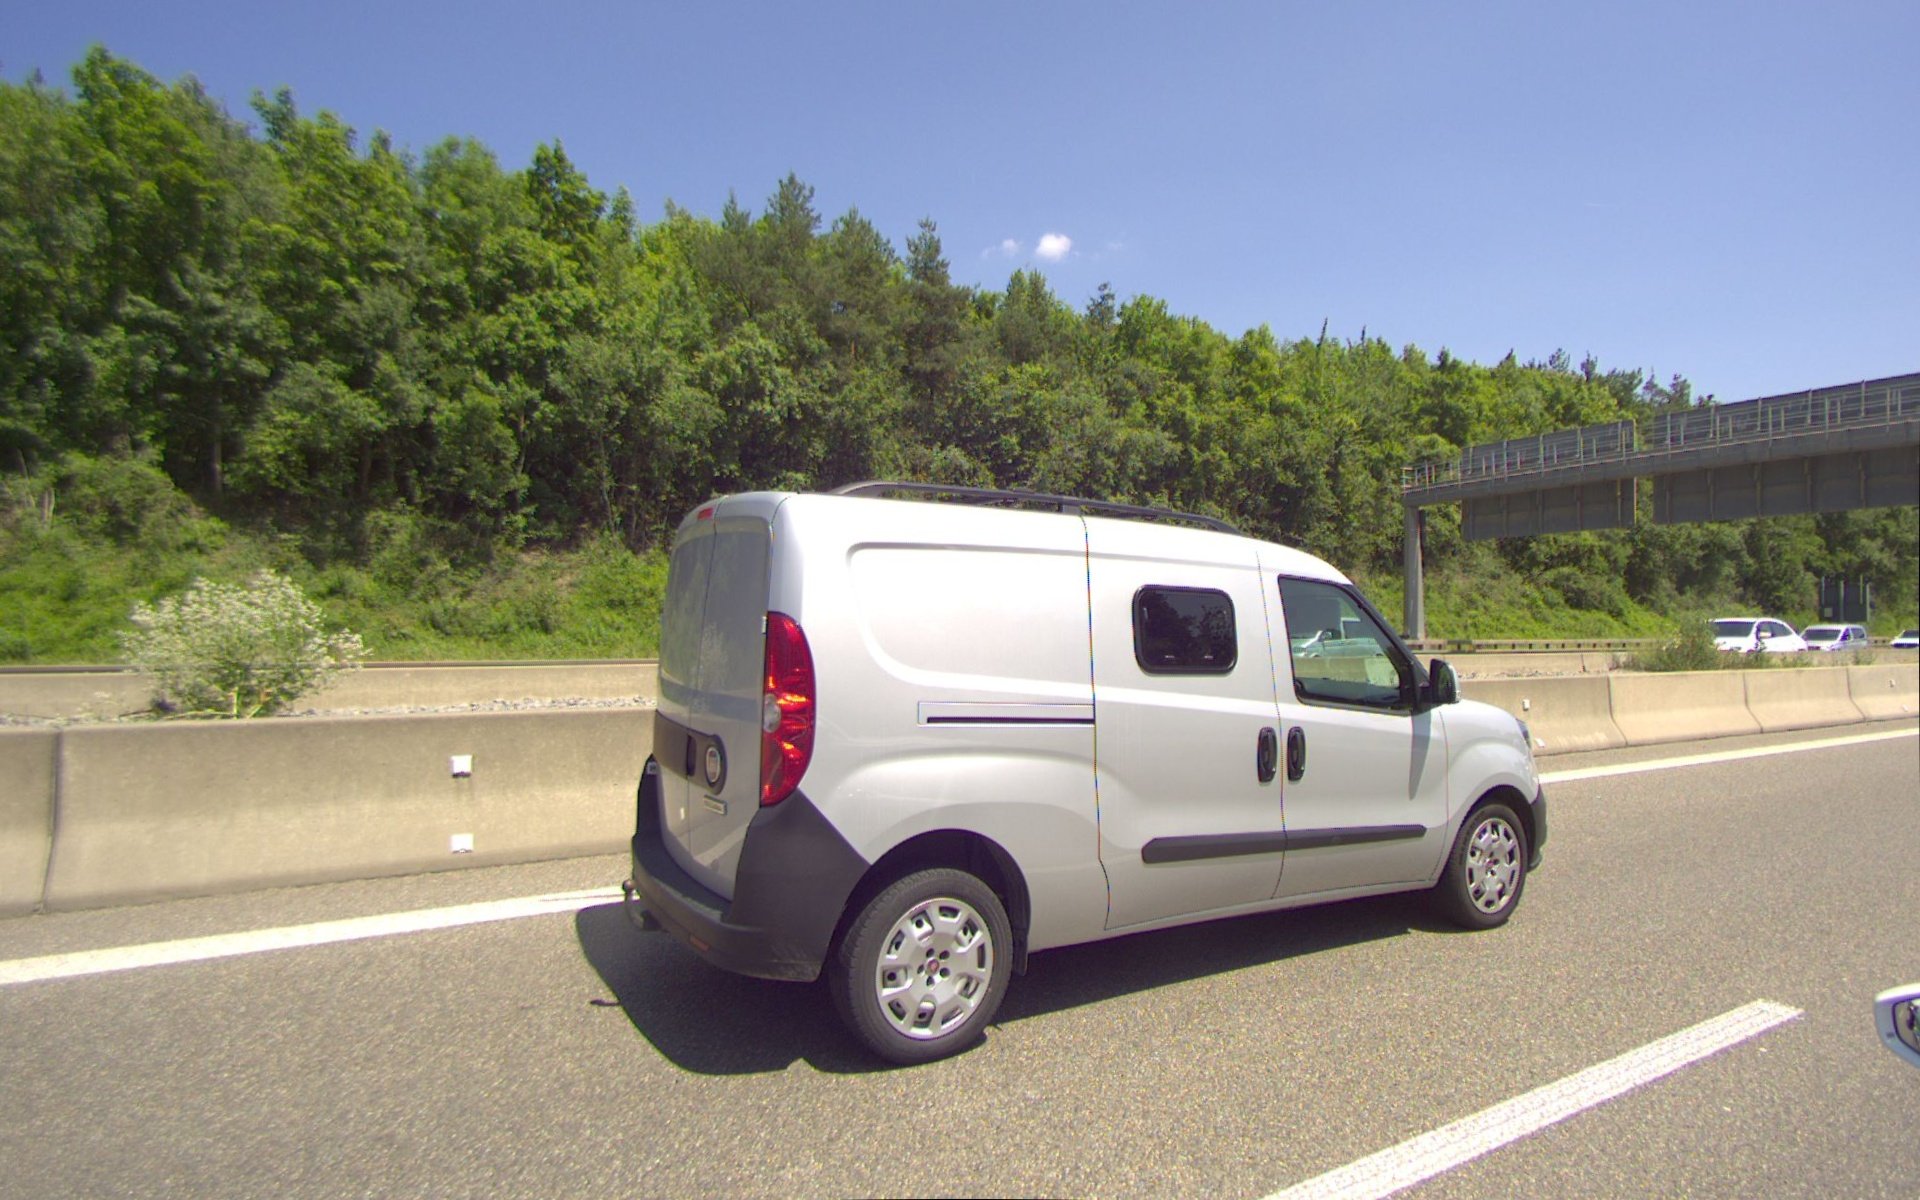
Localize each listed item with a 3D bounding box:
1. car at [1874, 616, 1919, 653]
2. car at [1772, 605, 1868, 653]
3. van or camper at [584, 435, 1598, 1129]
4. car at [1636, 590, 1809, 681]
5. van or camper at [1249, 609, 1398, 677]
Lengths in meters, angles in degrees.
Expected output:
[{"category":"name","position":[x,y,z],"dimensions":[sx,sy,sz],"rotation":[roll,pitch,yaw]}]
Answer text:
[{"category":"car","position":[55.953,2.055,59.024],"dimensions":[4.313,2.040,2.113],"rotation":[3,-1,-30]},{"category":"car","position":[39.517,1.327,46.123],"dimensions":[4.420,2.040,1.984],"rotation":[3,-1,-30]},{"category":"van or camper","position":[0.772,0.531,4.693],"dimensions":[4.507,1.905,1.844],"rotation":[1,0,-30]},{"category":"car","position":[18.725,0.879,24.628],"dimensions":[4.146,2.040,1.983],"rotation":[3,-1,-31]},{"category":"van or camper","position":[11.796,1.414,32.531],"dimensions":[4.625,2.040,1.984],"rotation":[3,-1,-30]}]
